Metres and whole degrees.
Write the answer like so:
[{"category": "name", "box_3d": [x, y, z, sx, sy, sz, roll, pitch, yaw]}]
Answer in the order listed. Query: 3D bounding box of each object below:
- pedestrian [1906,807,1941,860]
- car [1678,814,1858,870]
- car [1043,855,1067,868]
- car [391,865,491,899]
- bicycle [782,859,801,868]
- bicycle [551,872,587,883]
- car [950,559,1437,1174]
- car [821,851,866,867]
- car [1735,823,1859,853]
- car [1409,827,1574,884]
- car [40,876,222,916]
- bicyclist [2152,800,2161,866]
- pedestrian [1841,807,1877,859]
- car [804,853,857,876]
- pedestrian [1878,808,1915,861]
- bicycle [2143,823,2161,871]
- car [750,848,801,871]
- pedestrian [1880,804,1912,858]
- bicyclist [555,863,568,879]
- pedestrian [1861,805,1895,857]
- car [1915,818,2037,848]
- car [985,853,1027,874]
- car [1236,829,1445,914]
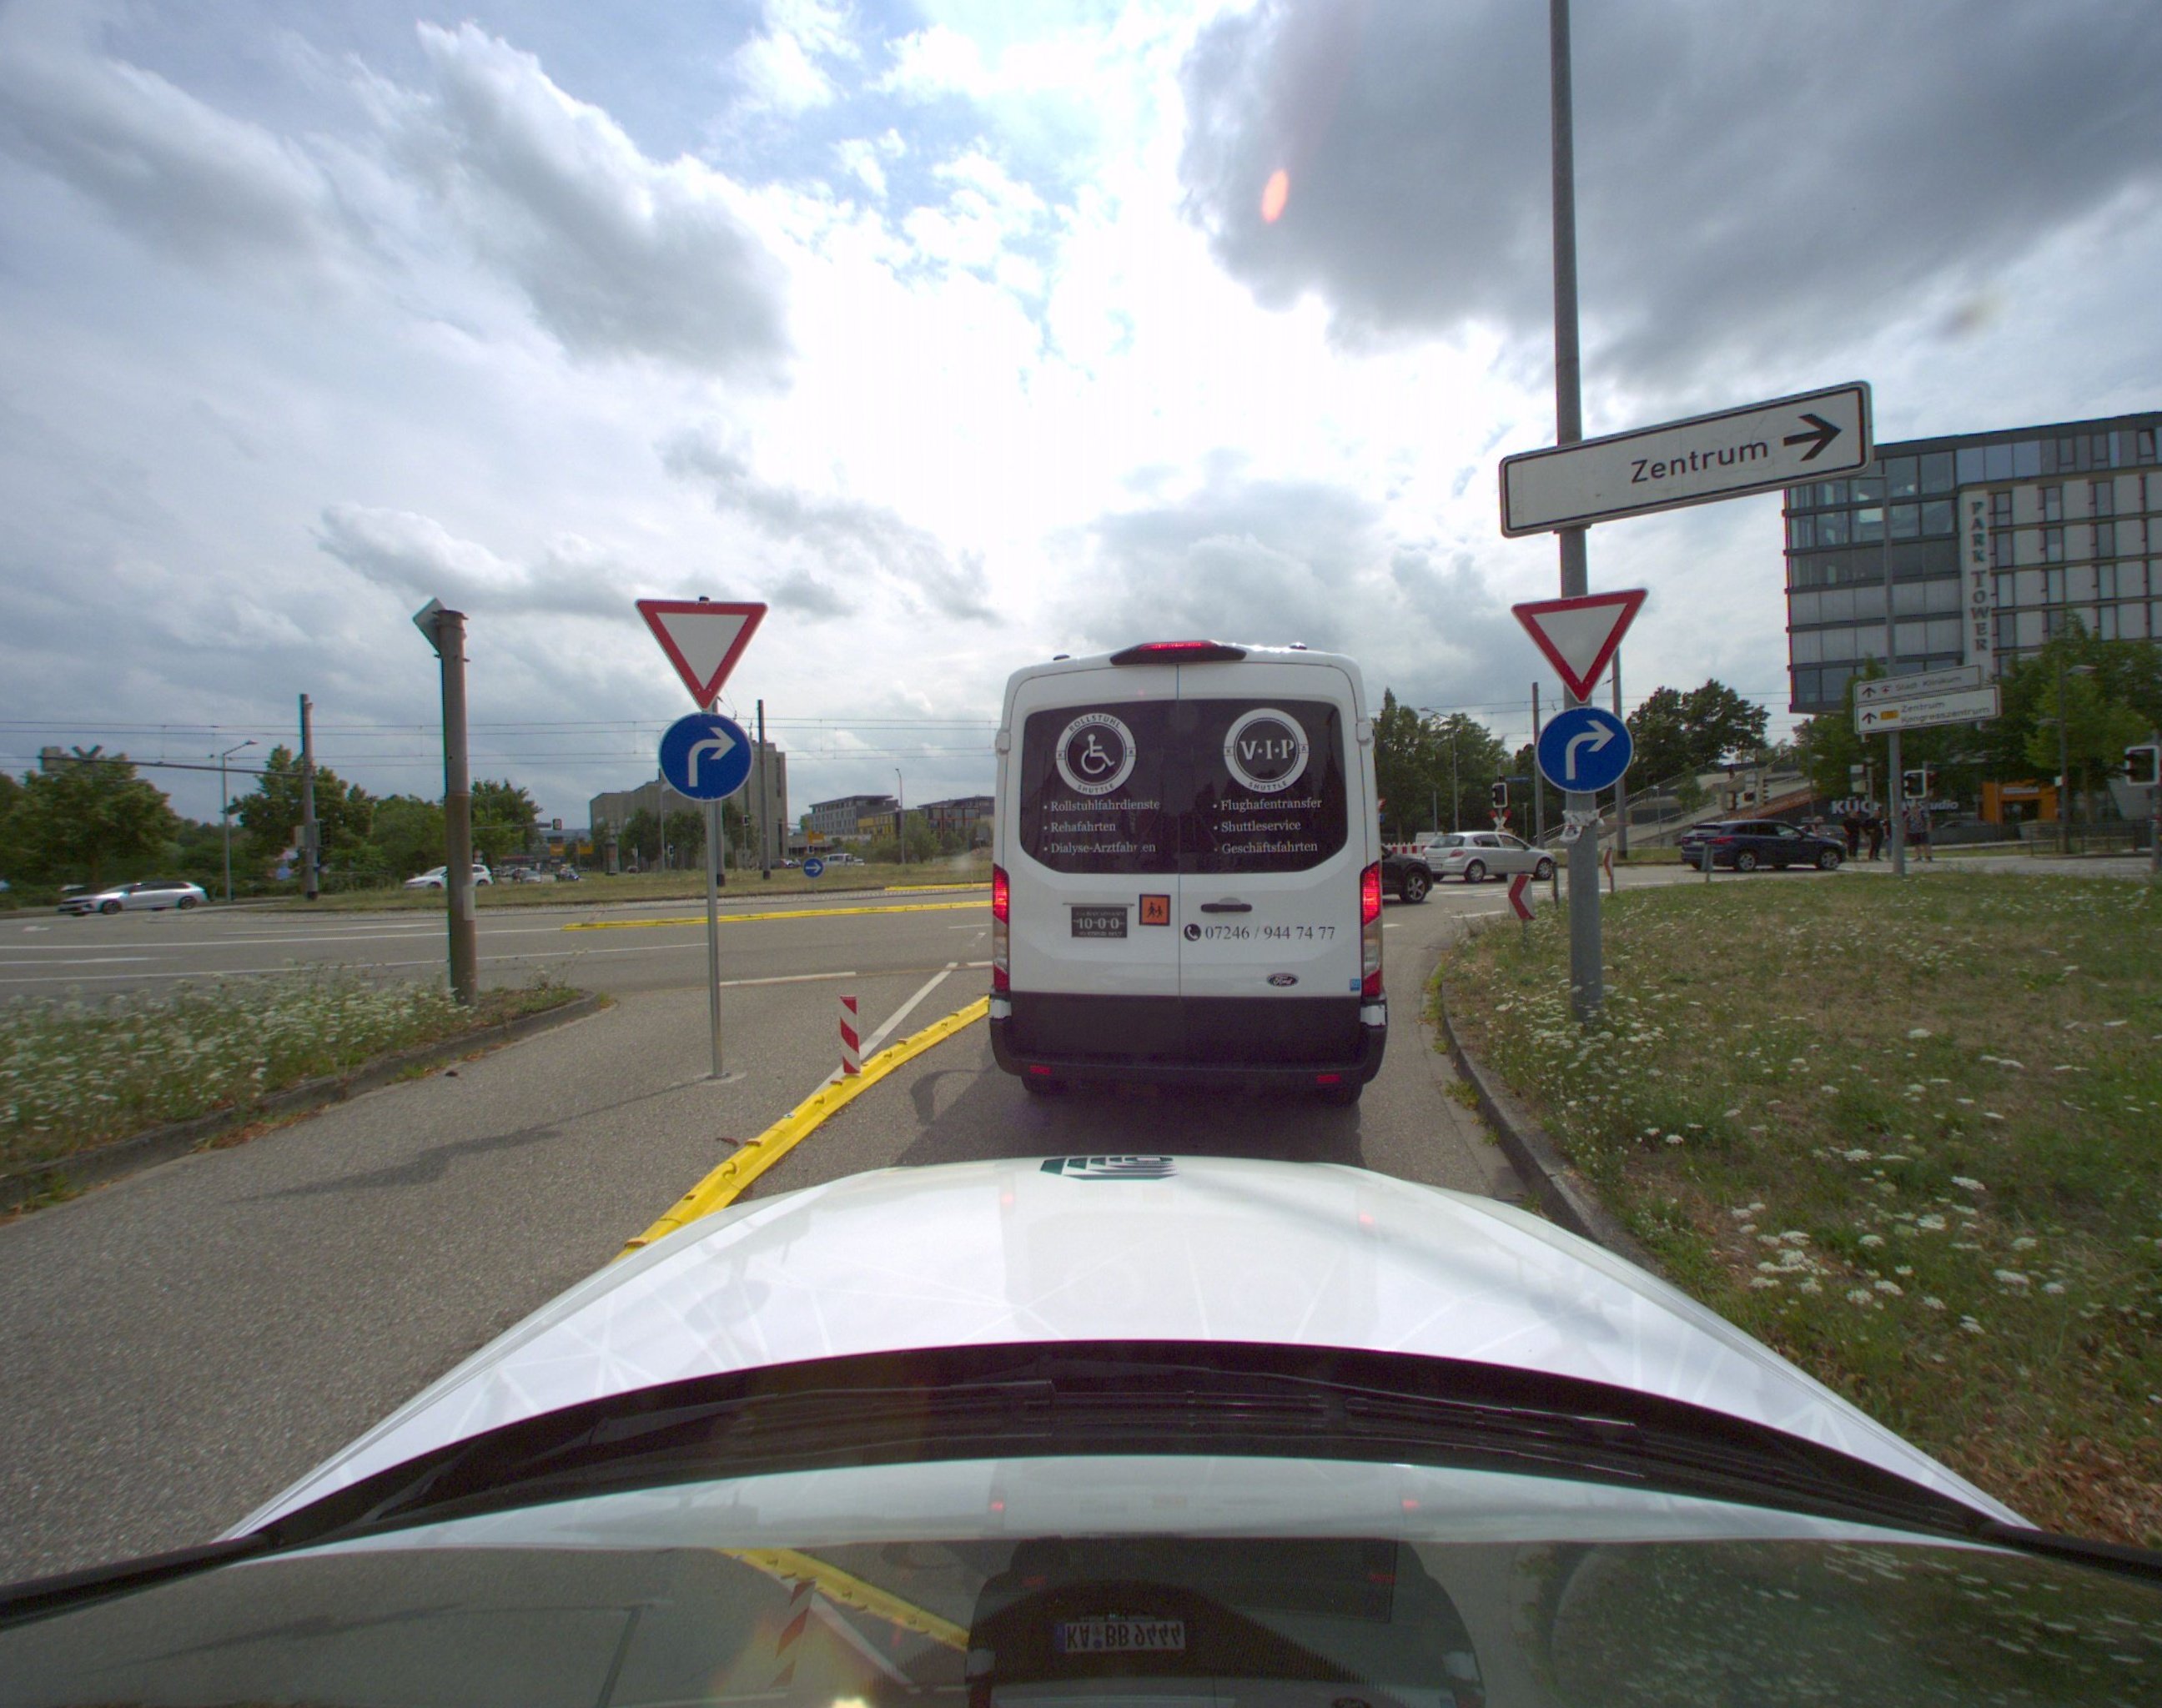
[{"category": "pedestrian", "box_3d": [28.722, -0.697, 27.773, 0.575, 1.781, 0.554, -2, 1, 6]}, {"category": "car", "box_3d": [21.083, -0.377, 25.078, 4.353, 1.534, 1.729, -2, 1, -7]}, {"category": "car", "box_3d": [-3.006, 0.870, 95.193, 1.815, 1.463, 4.013, -2, 0, 11]}, {"category": "car", "box_3d": [-38.980, 1.665, 49.729, 1.916, 1.665, 4.378, -2, 2, 20]}, {"category": "bicycle", "box_3d": [-30.716, 0.995, 86.357, 1.834, 0.877, 0.527, -2, 0, -19]}, {"category": "bicycle", "box_3d": [-46.832, 2.132, 74.525, 0.853, 0.855, 2.676, -2, 1, 36]}, {"category": "car", "box_3d": [0.895, 0.058, 6.501, 2.114, 2.697, 5.645, -2, 0, 9]}, {"category": "car", "box_3d": [-23.620, 0.488, 80.946, 3.952, 1.463, 1.843, -1, -1, 23]}, {"category": "car", "box_3d": [38.548, -0.840, 43.973, 4.689, 1.458, 1.855, -2, 1, 13]}, {"category": "car", "box_3d": [11.947, 0.015, 23.738, 4.259, 1.462, 1.819, -2, 1, -19]}, {"category": "car", "box_3d": [-43.778, 1.881, 37.761, 1.983, 1.482, 5.193, -2, 0, 6]}, {"category": "bicyclist", "box_3d": [26.774, -0.525, 19.725, 0.781, 1.627, 1.055, -2, 0, 41]}, {"category": "pedestrian", "box_3d": [27.292, -0.721, 28.572, 0.684, 1.781, 0.554, -2, 1, 6]}, {"category": "car", "box_3d": [-23.690, 1.006, 77.075, 4.315, 2.014, 2.008, -1, -1, 15]}, {"category": "pedestrian", "box_3d": [27.925, -0.677, 27.897, 0.684, 1.781, 0.554, -2, 1, 6]}, {"category": "bicycle", "box_3d": [26.860, -0.180, 19.821, 0.781, 1.168, 2.054, -2, 0, 40]}, {"category": "car", "box_3d": [-27.197, 0.490, 72.484, 3.950, 2.014, 2.012, -1, -1, 27]}, {"category": "pedestrian", "box_3d": [28.501, -0.806, 28.478, 0.527, 1.862, 0.554, -2, 1, 6]}, {"category": "bicyclist", "box_3d": [-47.222, 1.570, 74.057, 0.853, 1.409, 0.678, -2, 0, 36]}, {"category": "pedestrian", "box_3d": [27.893, -0.811, 28.514, 0.628, 1.781, 0.554, -2, 1, 6]}, {"category": "car", "box_3d": [46.914, -1.091, 42.795, 3.958, 1.458, 1.856, -2, 1, 14]}, {"category": "car", "box_3d": [-7.274, 0.933, 79.347, 1.974, 2.014, 4.025, -2, -1, 31]}, {"category": "car", "box_3d": [5.462, 0.299, 17.079, 4.156, 1.519, 1.726, -2, 1, -27]}]
